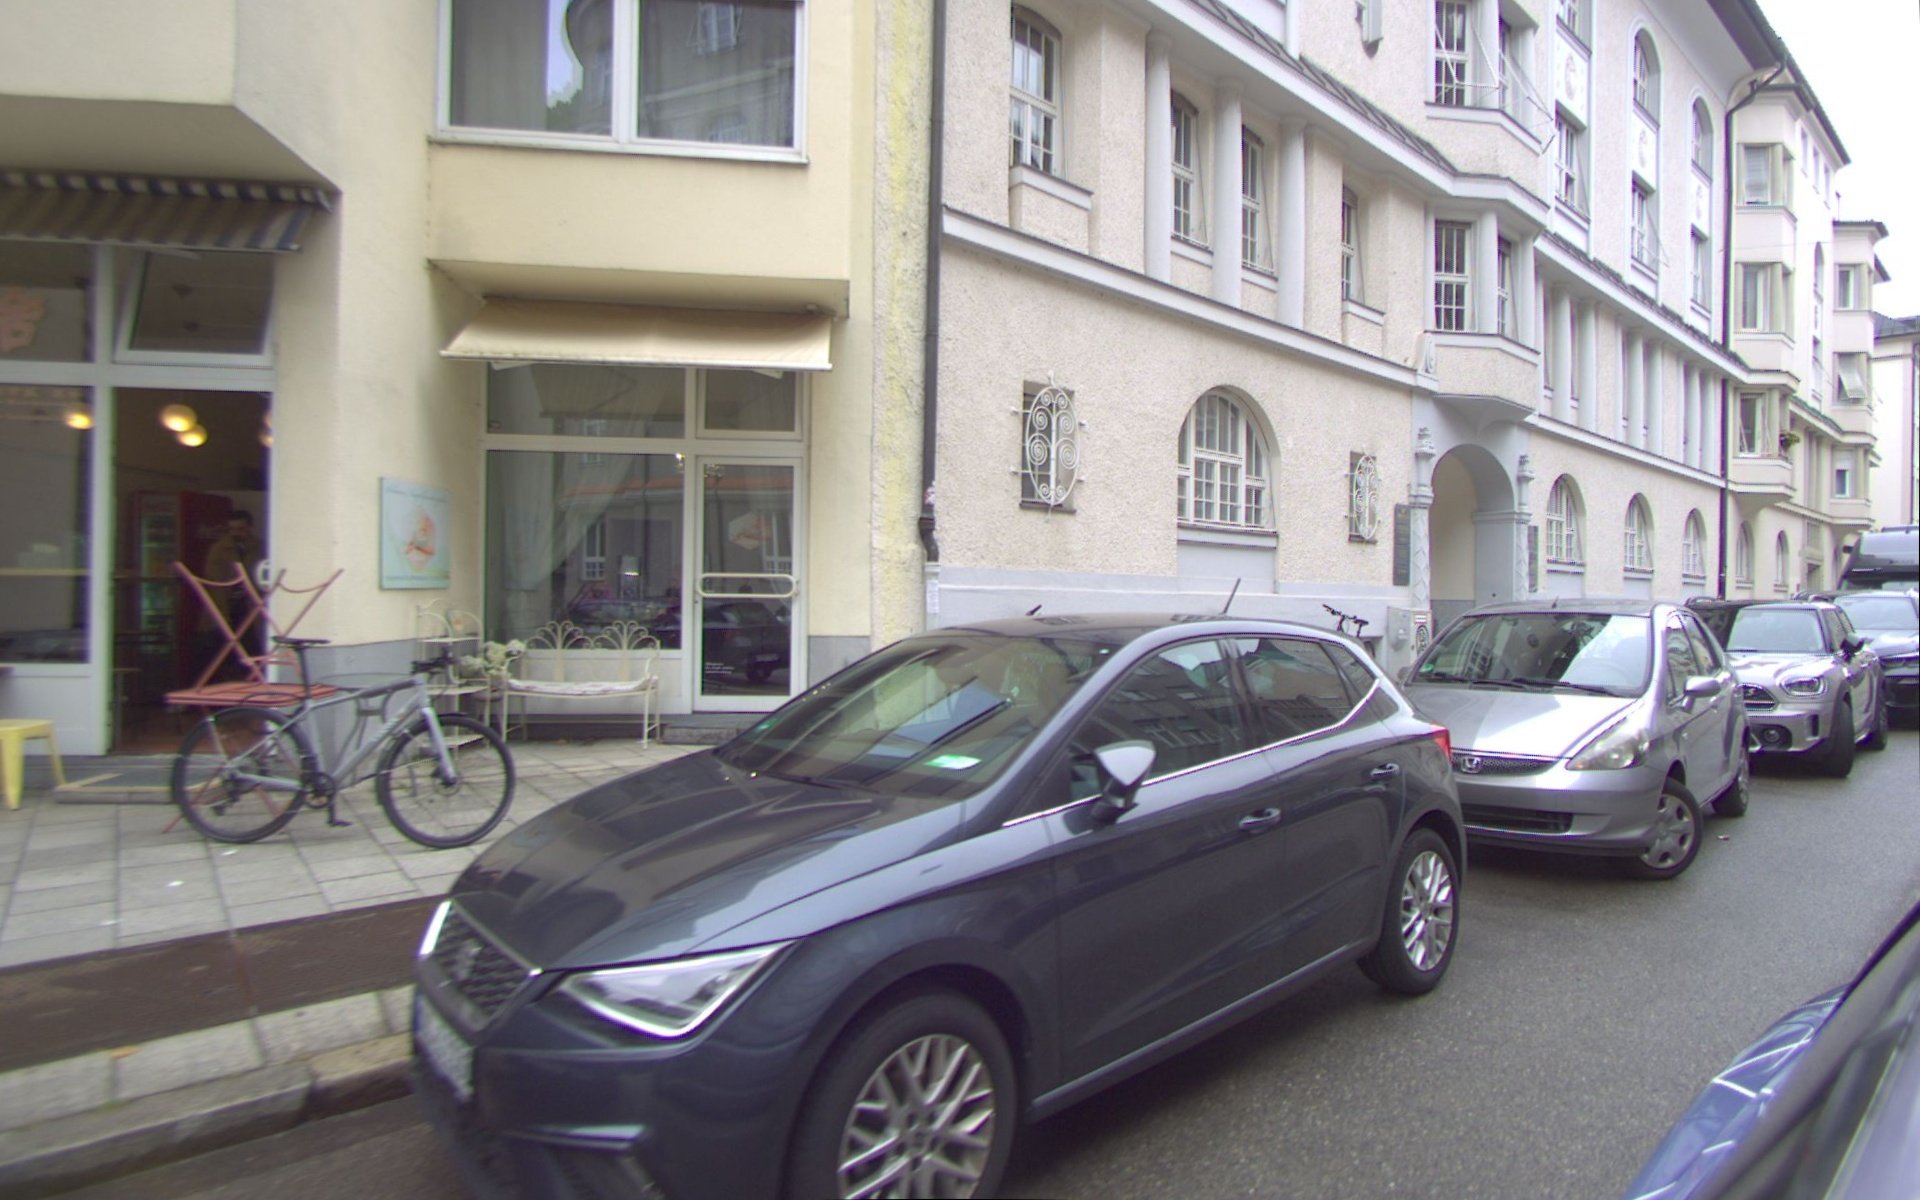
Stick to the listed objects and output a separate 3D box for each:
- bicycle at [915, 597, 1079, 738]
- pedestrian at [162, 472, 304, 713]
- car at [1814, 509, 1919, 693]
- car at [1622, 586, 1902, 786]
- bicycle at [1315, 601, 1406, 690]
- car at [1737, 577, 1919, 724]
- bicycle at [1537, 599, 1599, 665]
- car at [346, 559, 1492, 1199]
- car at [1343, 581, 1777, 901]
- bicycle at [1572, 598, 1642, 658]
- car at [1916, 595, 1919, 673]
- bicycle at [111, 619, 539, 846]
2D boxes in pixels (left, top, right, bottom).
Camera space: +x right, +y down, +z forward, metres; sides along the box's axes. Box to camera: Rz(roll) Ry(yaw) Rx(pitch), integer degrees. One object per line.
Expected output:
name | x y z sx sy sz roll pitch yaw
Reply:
bicycle | 0.384 0.595 9.647 0.563 1.207 1.650 4 2 44
pedestrian | -6.029 -0.069 8.450 0.727 1.870 1.018 3 1 -27
car | 17.800 -0.026 18.624 6.026 2.997 2.258 -1 0 -41
car | 8.108 0.690 10.109 3.901 1.612 1.635 0 0 -43
bicycle | 5.588 0.603 14.079 1.758 1.165 0.482 0 0 -43
car | 12.517 0.608 13.873 4.591 1.710 1.997 0 -1 -40
bicycle | 11.451 0.578 19.047 1.758 1.164 0.482 0 3 -43
car | 0.224 0.678 3.491 3.788 1.490 1.636 0 0 -42
car | 4.217 0.684 6.849 3.792 1.556 1.635 0 0 -45
bicycle | 12.963 0.543 20.259 1.753 1.165 0.483 0 0 -32
car | 21.936 0.729 21.882 2.765 1.646 1.545 0 0 -40
bicycle | -3.278 0.670 5.374 1.763 1.045 0.754 2 1 -5
